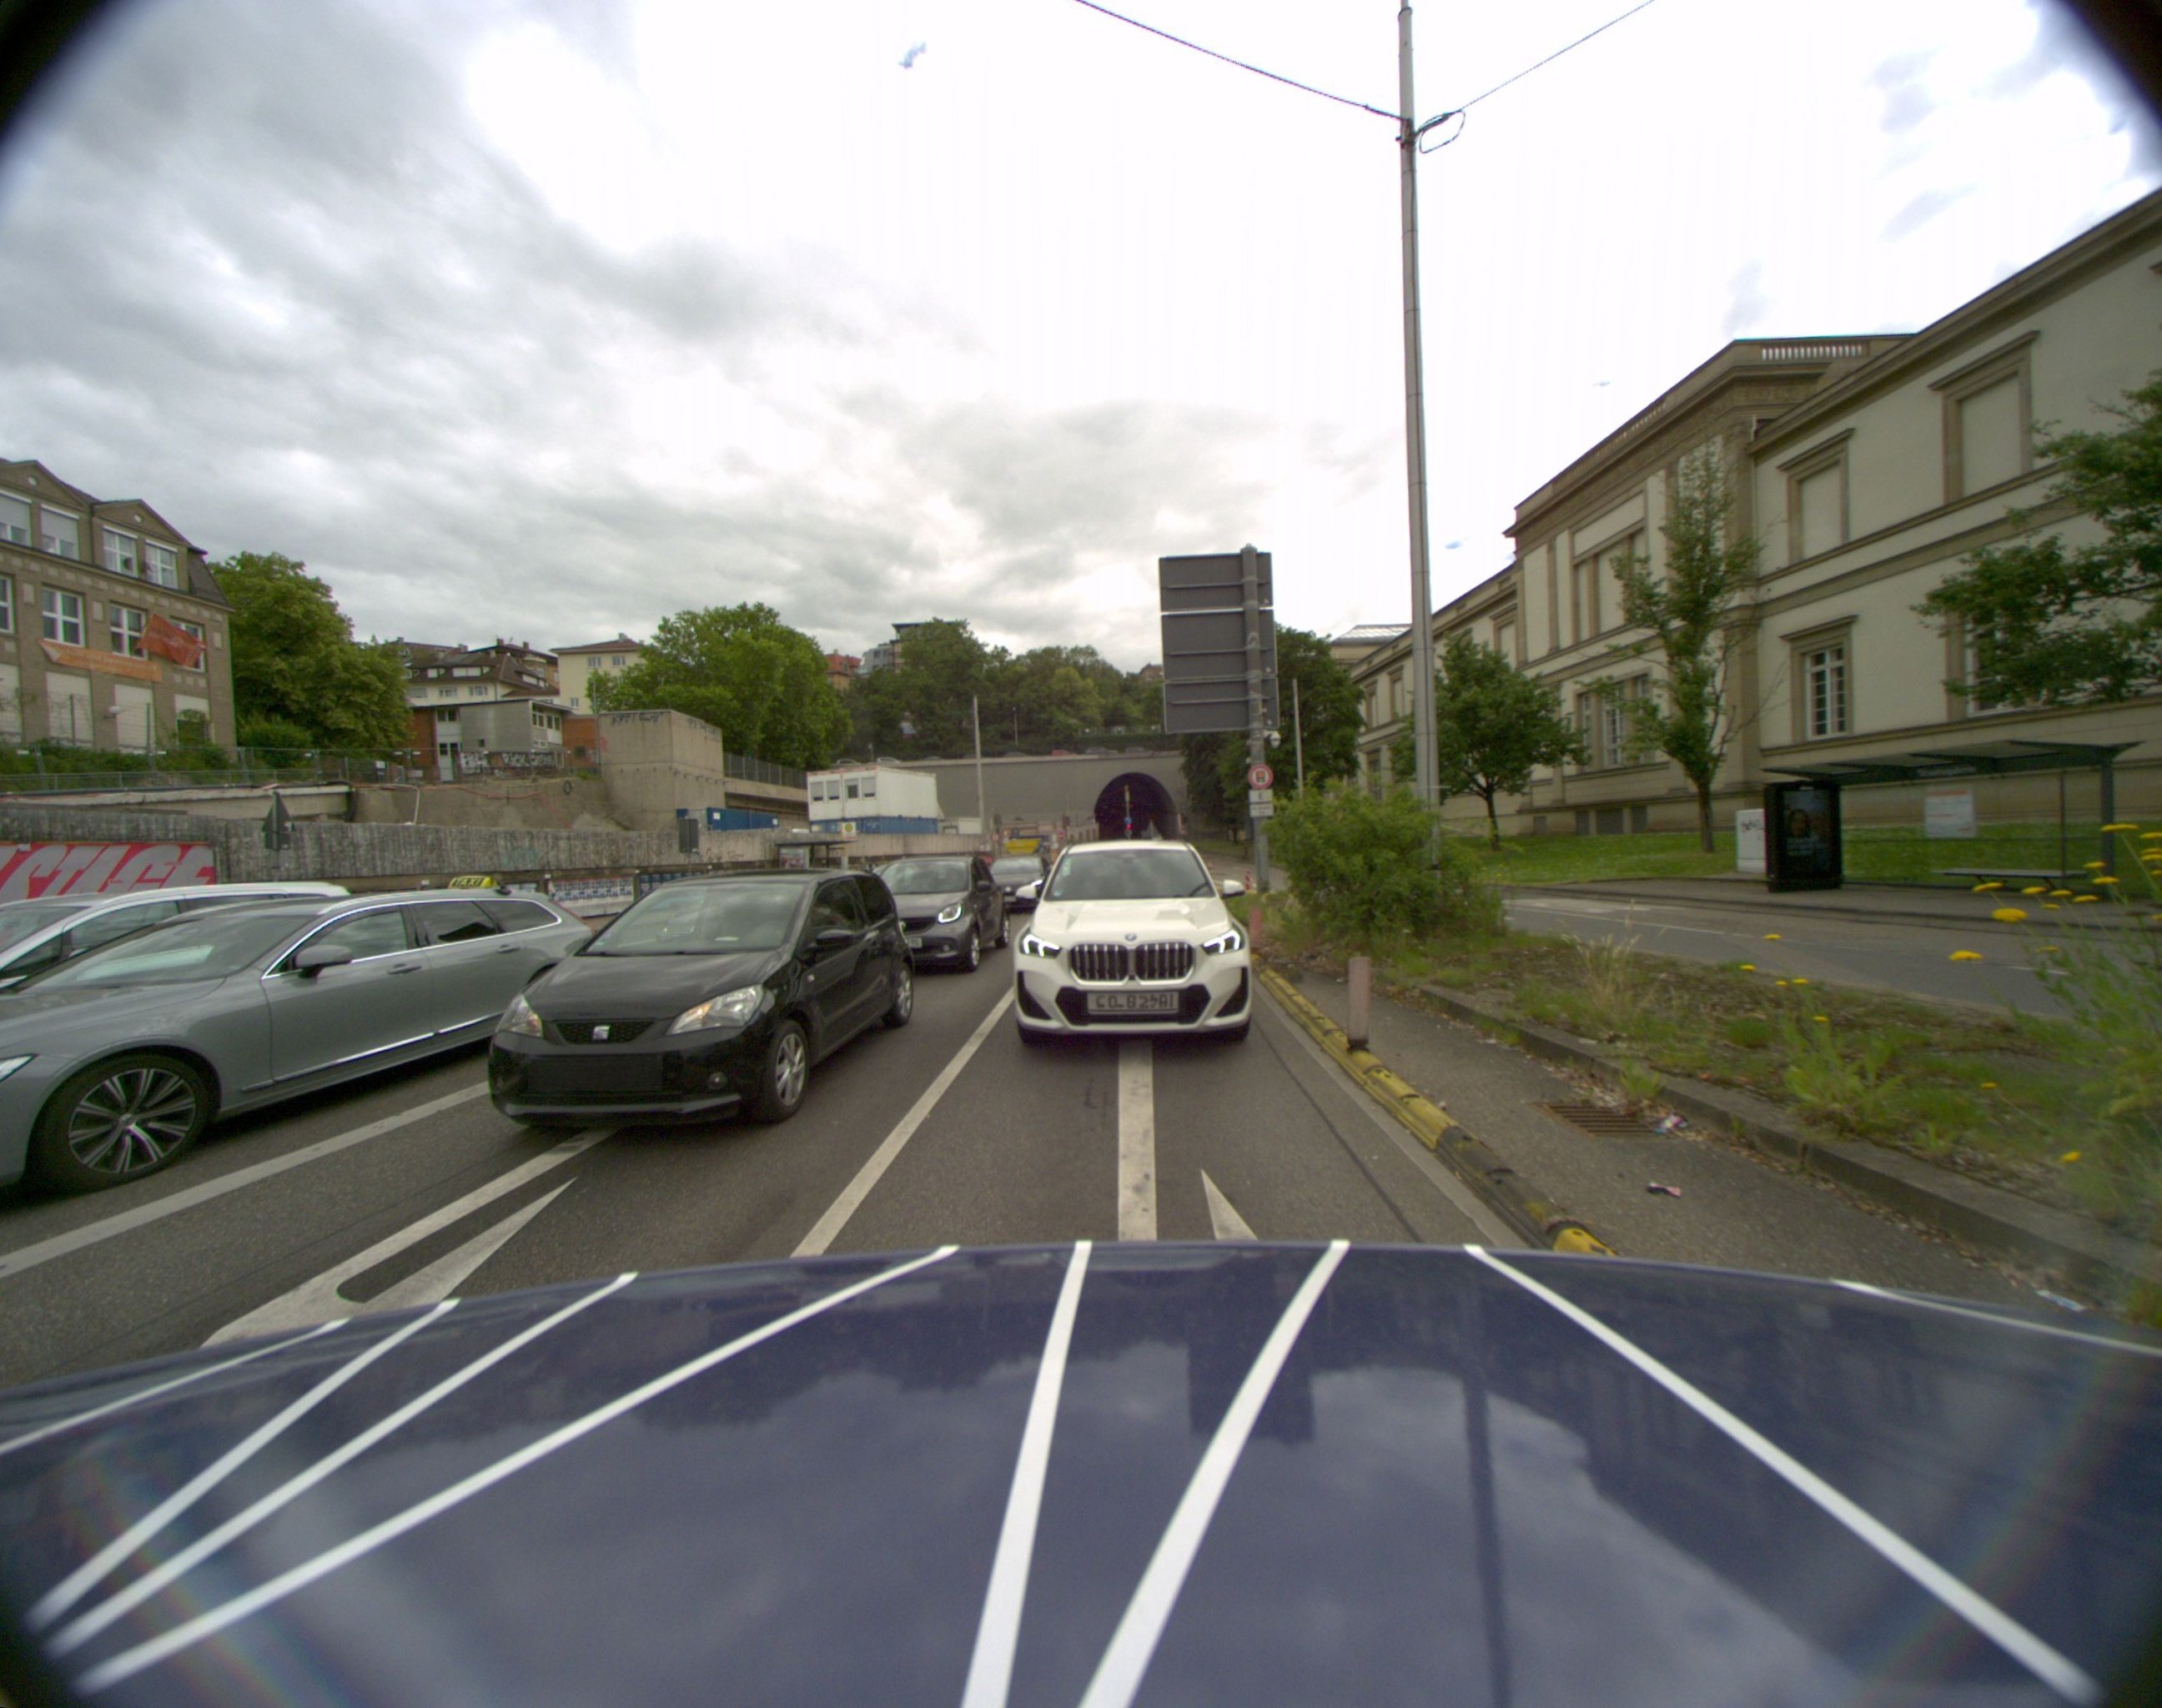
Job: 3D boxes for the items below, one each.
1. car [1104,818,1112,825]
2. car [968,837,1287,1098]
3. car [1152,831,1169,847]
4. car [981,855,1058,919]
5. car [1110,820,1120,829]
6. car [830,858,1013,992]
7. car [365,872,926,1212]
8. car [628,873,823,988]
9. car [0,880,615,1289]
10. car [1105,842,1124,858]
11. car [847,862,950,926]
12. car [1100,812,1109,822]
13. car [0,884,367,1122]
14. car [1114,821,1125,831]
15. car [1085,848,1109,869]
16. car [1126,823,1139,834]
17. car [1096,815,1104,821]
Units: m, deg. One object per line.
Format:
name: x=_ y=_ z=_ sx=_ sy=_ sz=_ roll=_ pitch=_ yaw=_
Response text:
car: x=6.534 y=-7.720 z=182.196 sx=1.778 sy=1.609 sz=3.802 roll=-2 pitch=1 yaw=0
car: x=0.340 y=0.696 z=6.698 sx=1.987 sy=1.616 sz=3.670 roll=-2 pitch=1 yaw=1
car: x=9.523 y=-1.786 z=91.220 sx=1.836 sy=1.736 sz=4.000 roll=-2 pitch=1 yaw=3
car: x=-1.588 y=0.829 z=20.936 sx=1.680 sy=1.450 sz=3.806 roll=-2 pitch=1 yaw=1
car: x=7.280 y=-6.334 z=163.192 sx=1.903 sy=1.615 sz=4.107 roll=-2 pitch=0 yaw=0
car: x=-2.114 y=0.884 z=11.087 sx=1.720 sy=1.535 sz=3.575 roll=-2 pitch=0 yaw=2
car: x=-2.493 y=0.968 z=5.542 sx=1.828 sy=1.450 sz=3.700 roll=-2 pitch=1 yaw=1
car: x=-5.396 y=1.104 z=11.907 sx=1.665 sy=1.423 sz=2.714 roll=-2 pitch=1 yaw=1
car: x=-5.782 y=1.149 z=5.395 sx=1.828 sy=1.616 sz=4.808 roll=-2 pitch=1 yaw=1
car: x=3.126 y=-0.391 z=71.520 sx=1.680 sy=1.358 sz=3.806 roll=-2 pitch=1 yaw=1
car: x=-4.680 y=0.983 z=20.037 sx=1.680 sy=1.358 sz=3.806 roll=-2 pitch=1 yaw=1
car: x=6.471 y=-10.072 z=205.548 sx=2.203 sy=2.493 sz=4.758 roll=-2 pitch=1 yaw=3
car: x=-9.039 y=1.239 z=6.635 sx=1.681 sy=1.616 sz=4.207 roll=-4 pitch=1 yaw=-4
car: x=7.385 y=-5.422 z=146.968 sx=1.903 sy=1.615 sz=4.107 roll=-2 pitch=0 yaw=0
car: x=1.167 y=0.303 z=55.893 sx=1.680 sy=1.358 sz=3.806 roll=-2 pitch=1 yaw=1
car: x=8.478 y=-4.193 z=125.202 sx=1.902 sy=1.615 sz=4.109 roll=-2 pitch=0 yaw=7
car: x=5.865 y=-11.120 z=232.889 sx=1.946 sy=1.714 sz=4.000 roll=-2 pitch=1 yaw=5
